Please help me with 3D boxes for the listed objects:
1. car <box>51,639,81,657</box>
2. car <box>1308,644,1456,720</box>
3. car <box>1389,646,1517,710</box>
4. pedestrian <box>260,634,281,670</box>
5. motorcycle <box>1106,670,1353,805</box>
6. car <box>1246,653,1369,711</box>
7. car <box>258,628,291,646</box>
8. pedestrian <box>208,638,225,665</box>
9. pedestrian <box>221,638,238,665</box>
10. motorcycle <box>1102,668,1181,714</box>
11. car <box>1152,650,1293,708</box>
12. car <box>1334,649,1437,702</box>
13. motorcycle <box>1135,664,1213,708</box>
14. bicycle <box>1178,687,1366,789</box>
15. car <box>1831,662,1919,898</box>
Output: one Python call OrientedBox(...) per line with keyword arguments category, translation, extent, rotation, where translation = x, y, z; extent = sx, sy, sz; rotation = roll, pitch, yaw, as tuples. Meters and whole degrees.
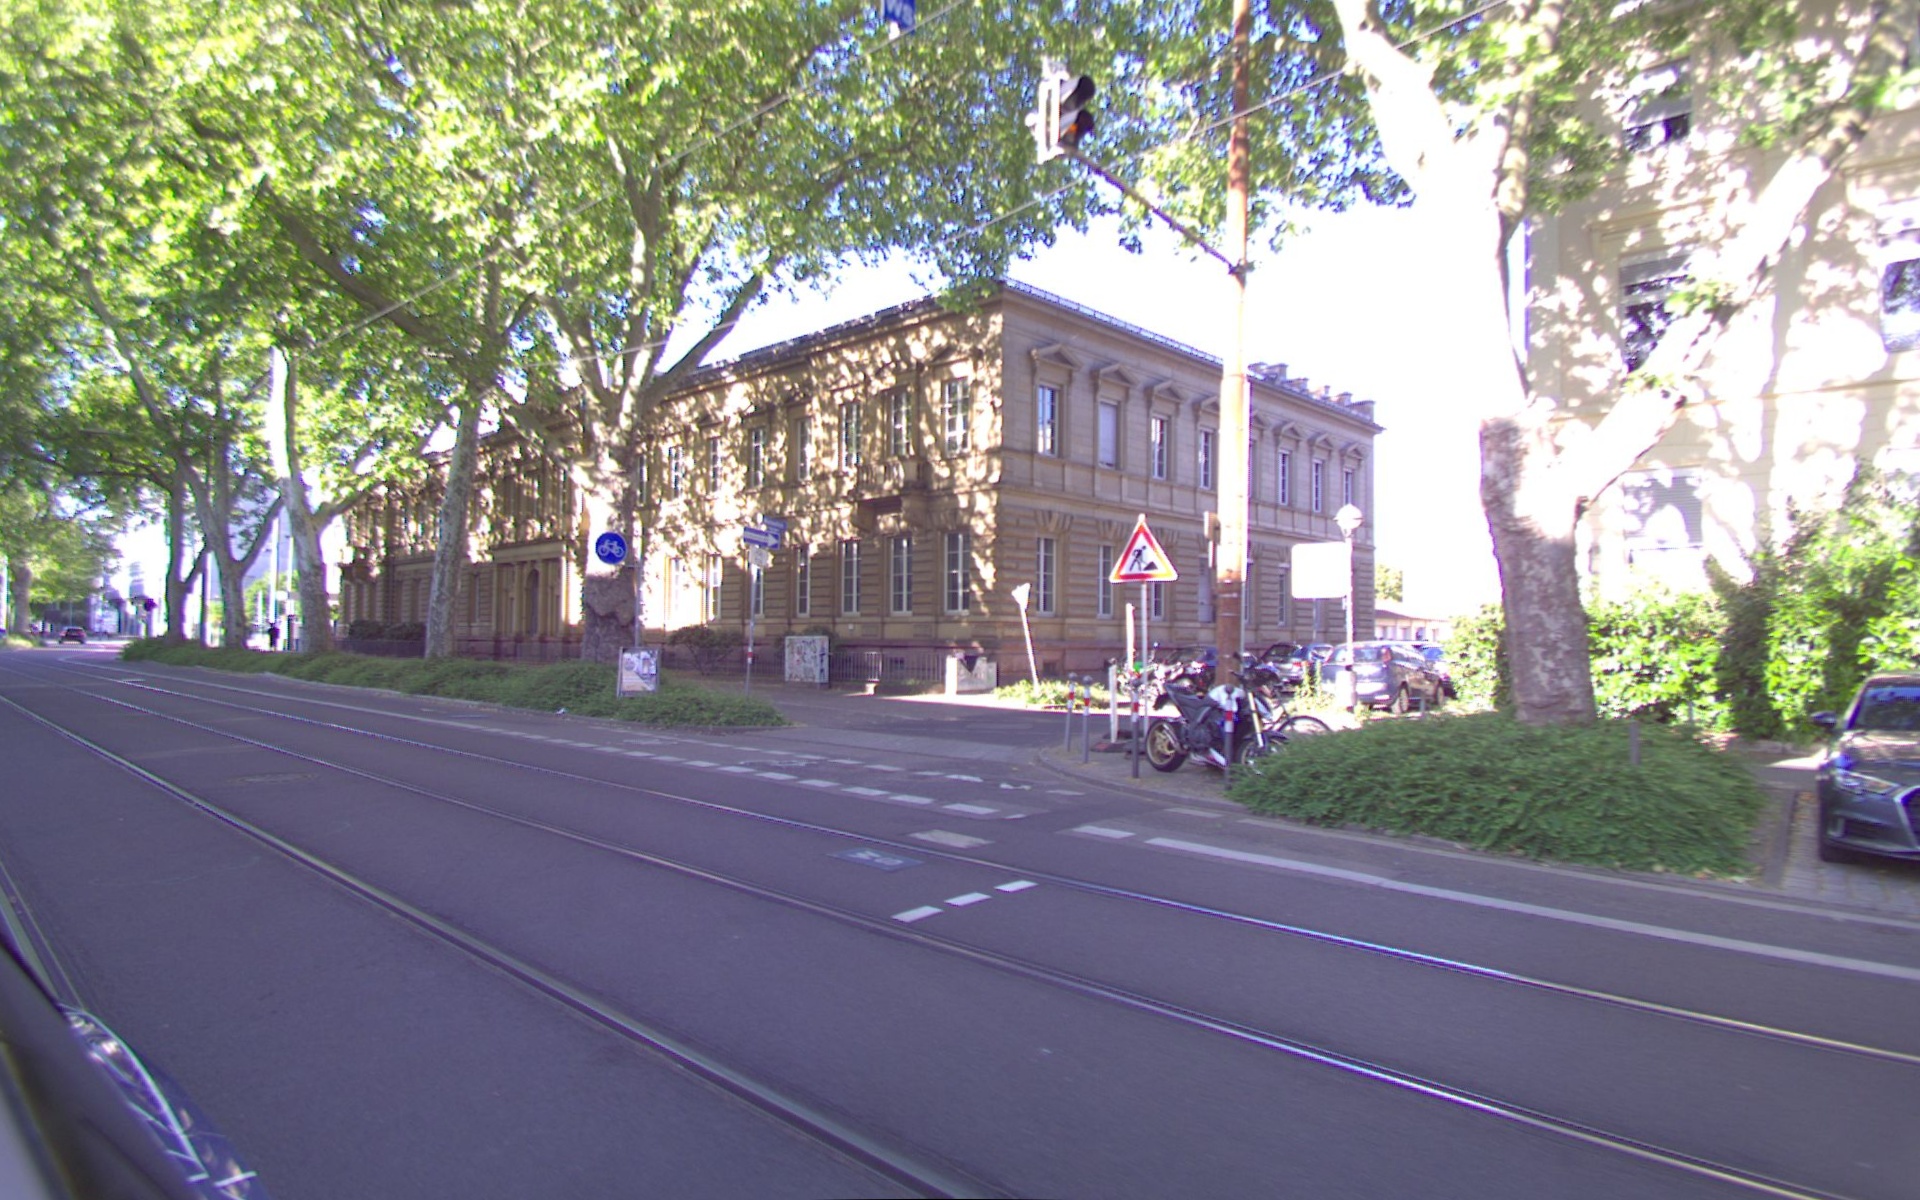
OrientedBox(category="car", translation=(-85.968, 4.630, 97.290), extent=(1.845, 1.642, 4.563), rotation=(3, -4, -44))
OrientedBox(category="car", translation=(8.871, 1.702, 21.160), extent=(1.693, 1.429, 3.736), rotation=(-5, -6, 41))
OrientedBox(category="car", translation=(12.035, 1.889, 24.617), extent=(1.694, 1.429, 3.876), rotation=(-4, -6, 43))
OrientedBox(category="pedestrian", translation=(-36.022, 2.714, 52.842), extent=(0.838, 1.863, 0.711), rotation=(-2, -3, 44))
OrientedBox(category="motorcycle", translation=(2.720, 1.349, 10.509), extent=(0.873, 1.156, 2.394), rotation=(2, -3, -41))
OrientedBox(category="car", translation=(10.543, 2.413, 30.577), extent=(3.872, 1.502, 1.850), rotation=(1, -1, -42))
OrientedBox(category="car", translation=(-69.404, 3.753, 102.464), extent=(3.998, 1.831, 1.828), rotation=(-2, -3, 41))
OrientedBox(category="pedestrian", translation=(-46.515, 3.224, 63.304), extent=(0.655, 1.710, 0.628), rotation=(-1, -3, 34))
OrientedBox(category="pedestrian", translation=(-46.136, 3.263, 63.893), extent=(0.660, 1.710, 0.665), rotation=(-1, -3, 34))
OrientedBox(category="motorcycle", translation=(4.458, 2.230, 25.018), extent=(0.710, 0.984, 1.959), rotation=(1, -1, -37))
OrientedBox(category="car", translation=(7.189, 2.100, 27.574), extent=(3.871, 1.342, 1.850), rotation=(1, -1, -41))
OrientedBox(category="car", translation=(14.439, 2.498, 34.248), extent=(3.872, 1.561, 1.713), rotation=(1, -1, -42))
OrientedBox(category="motorcycle", translation=(5.437, 2.170, 25.776), extent=(0.710, 0.984, 1.959), rotation=(1, -1, -37))
OrientedBox(category="bicycle", translation=(3.435, 1.495, 11.323), extent=(0.534, 0.948, 2.037), rotation=(2, -3, -41))
OrientedBox(category="car", translation=(7.727, 1.225, 7.520), extent=(1.847, 1.342, 3.879), rotation=(-1, -1, 41))
